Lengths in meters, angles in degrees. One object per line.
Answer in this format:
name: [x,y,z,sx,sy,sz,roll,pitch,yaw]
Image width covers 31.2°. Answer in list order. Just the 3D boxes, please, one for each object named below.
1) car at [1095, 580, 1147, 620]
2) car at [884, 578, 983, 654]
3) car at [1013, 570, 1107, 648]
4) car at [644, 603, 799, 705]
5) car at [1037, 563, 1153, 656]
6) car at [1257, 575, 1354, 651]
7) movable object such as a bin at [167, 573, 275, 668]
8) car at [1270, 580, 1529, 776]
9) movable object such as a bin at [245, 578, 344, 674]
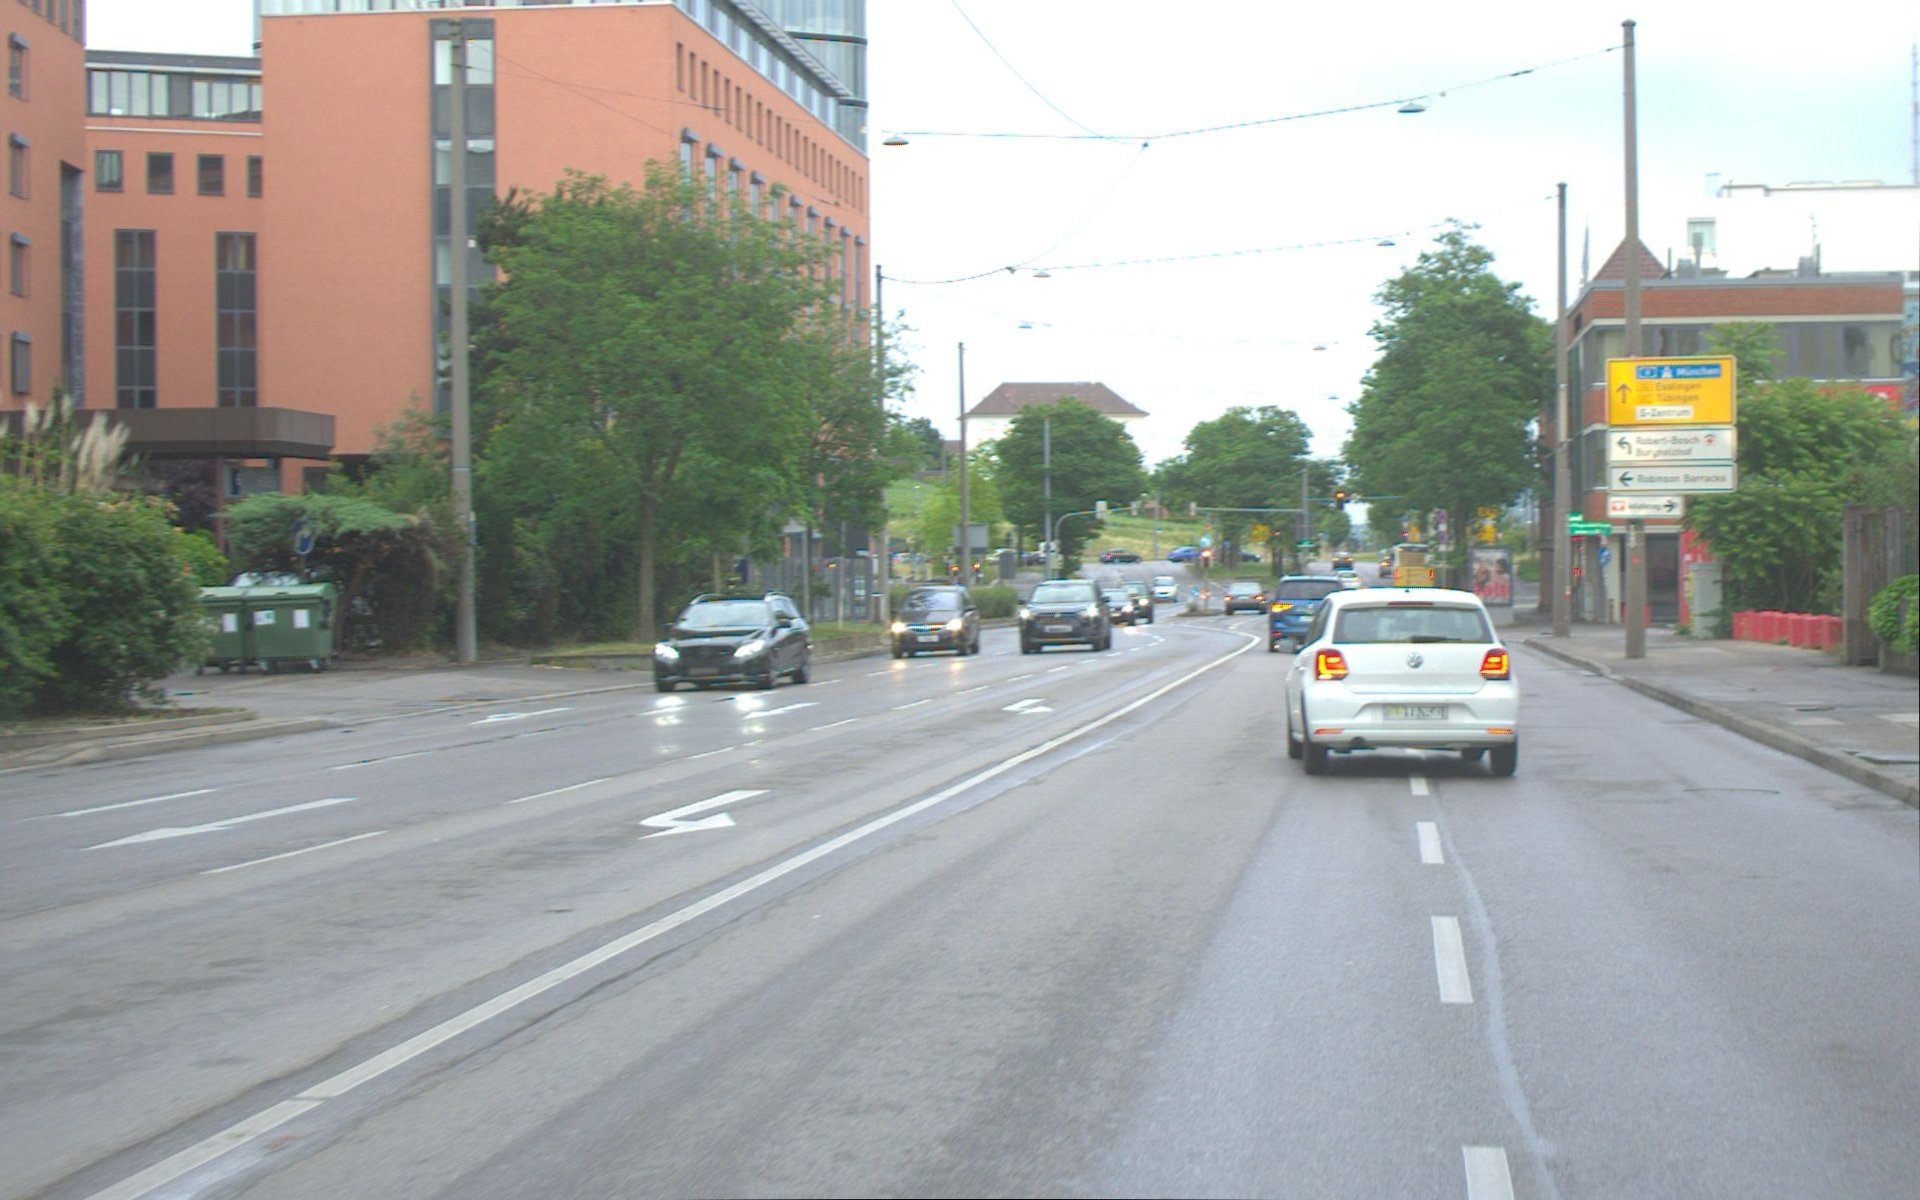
car: [6.099,-0.003,129.971,1.660,1.481,3.819,-1,0,7]
car: [-0.582,0.338,79.143,1.708,1.561,4.033,-3,1,7]
car: [2.329,0.185,78.796,1.756,1.550,4.449,-3,2,6]
car: [-3.720,0.819,54.324,1.733,1.472,4.698,-1,0,5]
car: [3.169,0.245,81.441,1.993,2.007,4.000,-2,-2,-8]
car: [7.403,0.265,73.548,1.994,1.568,3.999,-1,0,6]
movable object such as a bin: [-12.181,0.343,56.680,1.391,1.486,0.950,-3,-2,18]
car: [3.475,0.573,27.750,1.671,1.469,3.779,0,0,1]
movable object such as a bin: [-10.788,0.428,55.766,1.390,1.486,0.951,-3,-2,-3]
